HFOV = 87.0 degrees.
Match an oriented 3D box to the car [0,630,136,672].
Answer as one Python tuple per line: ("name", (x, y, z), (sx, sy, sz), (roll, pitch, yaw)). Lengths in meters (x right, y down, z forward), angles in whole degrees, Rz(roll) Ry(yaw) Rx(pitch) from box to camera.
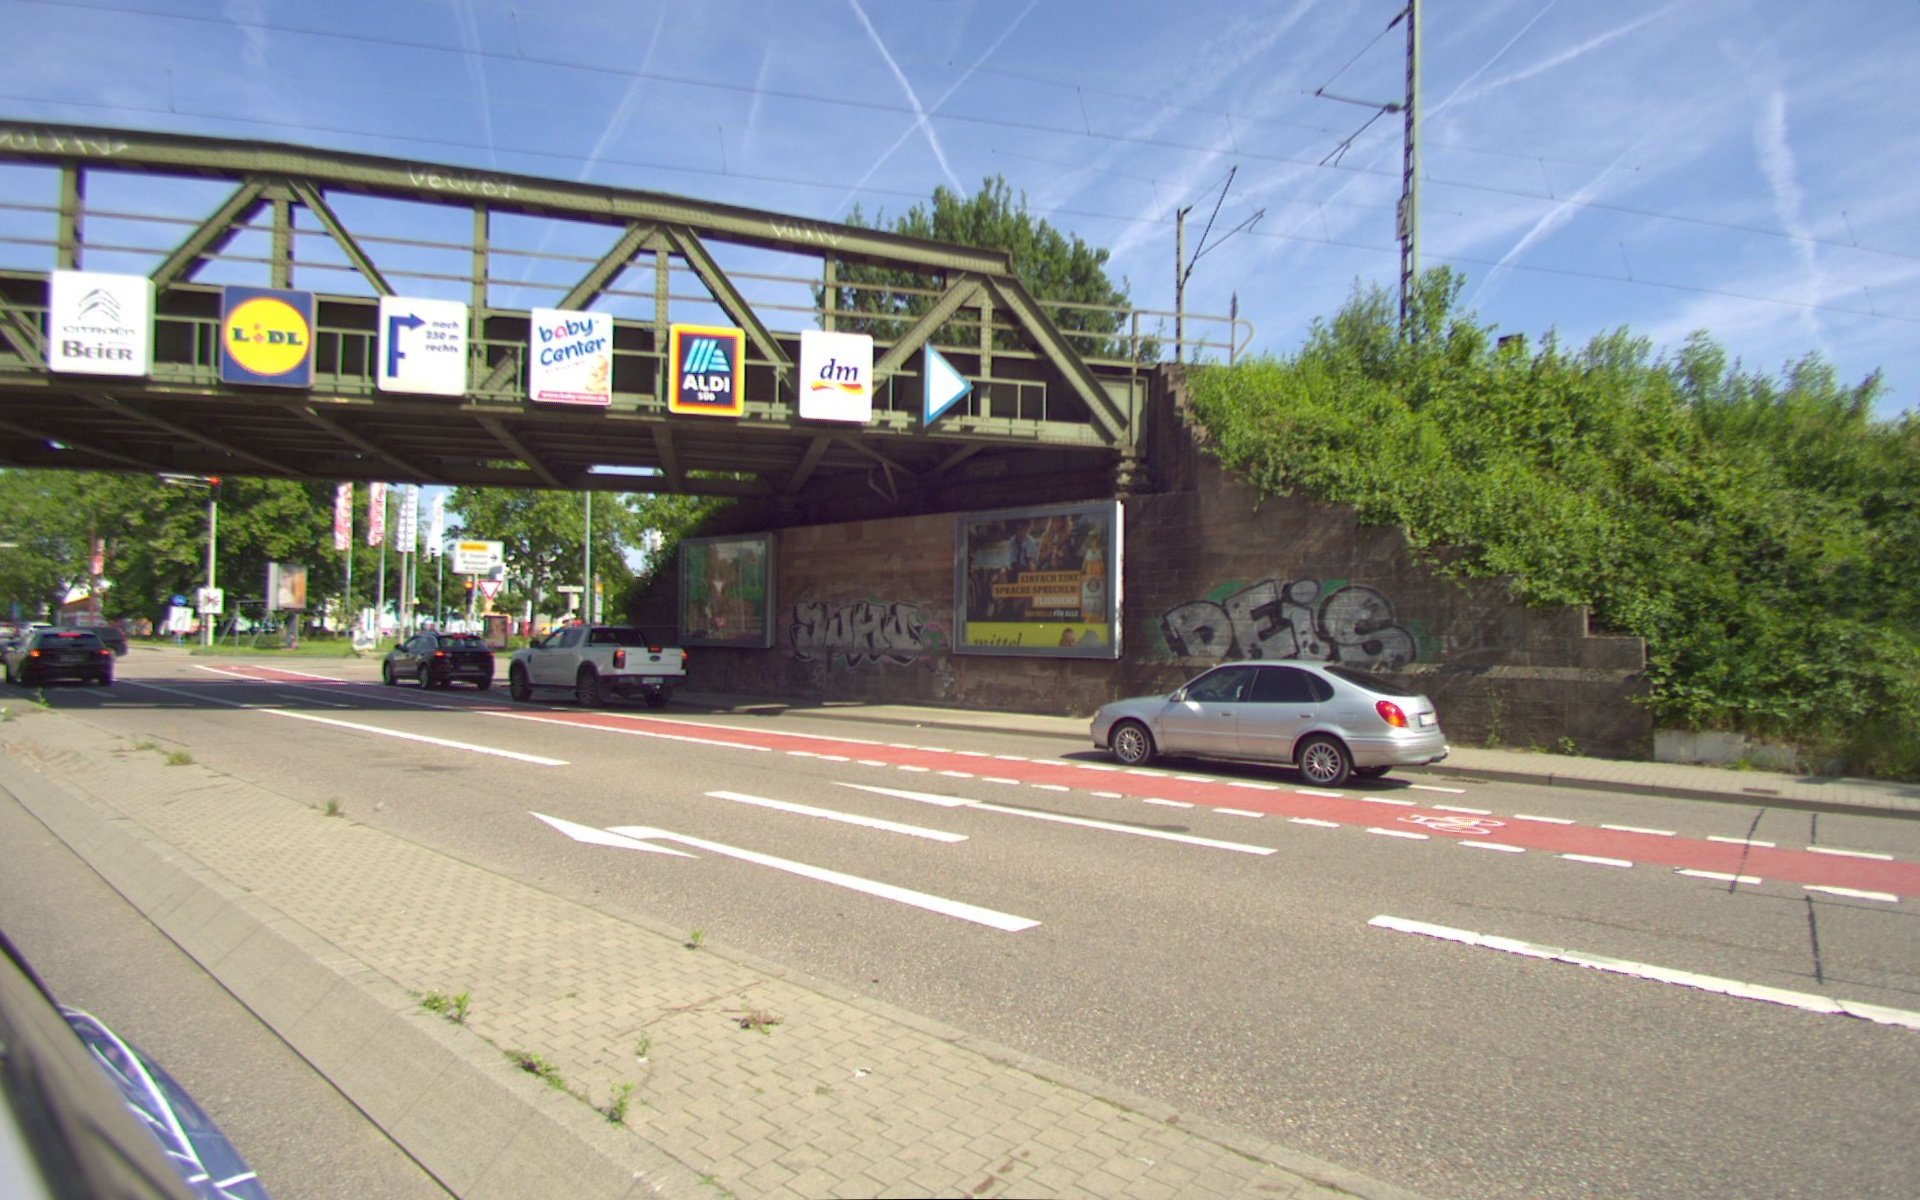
("car", (-36.691, 2.053, 41.037), (1.690, 1.585, 4.897), (0, -2, 18))

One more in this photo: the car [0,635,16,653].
("car", (-91.394, 4.176, 96.225), (3.820, 1.735, 1.904), (-1, -1, 38))

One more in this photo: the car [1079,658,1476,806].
("car", (3.686, 1.447, 12.245), (4.316, 1.398, 1.618), (-1, -4, 41))

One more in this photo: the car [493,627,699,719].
("car", (-8.495, 1.623, 23.327), (5.447, 1.875, 1.973), (-1, -5, 41))

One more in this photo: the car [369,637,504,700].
("car", (-14.789, 1.874, 28.499), (4.384, 1.608, 1.853), (-1, -3, 41))

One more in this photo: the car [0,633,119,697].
("car", (-23.134, 1.616, 25.929), (4.118, 1.458, 1.762), (-1, -3, 41))

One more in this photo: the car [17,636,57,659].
("car", (-73.071, 3.739, 80.081), (3.632, 1.735, 1.802), (-1, -1, 38))
